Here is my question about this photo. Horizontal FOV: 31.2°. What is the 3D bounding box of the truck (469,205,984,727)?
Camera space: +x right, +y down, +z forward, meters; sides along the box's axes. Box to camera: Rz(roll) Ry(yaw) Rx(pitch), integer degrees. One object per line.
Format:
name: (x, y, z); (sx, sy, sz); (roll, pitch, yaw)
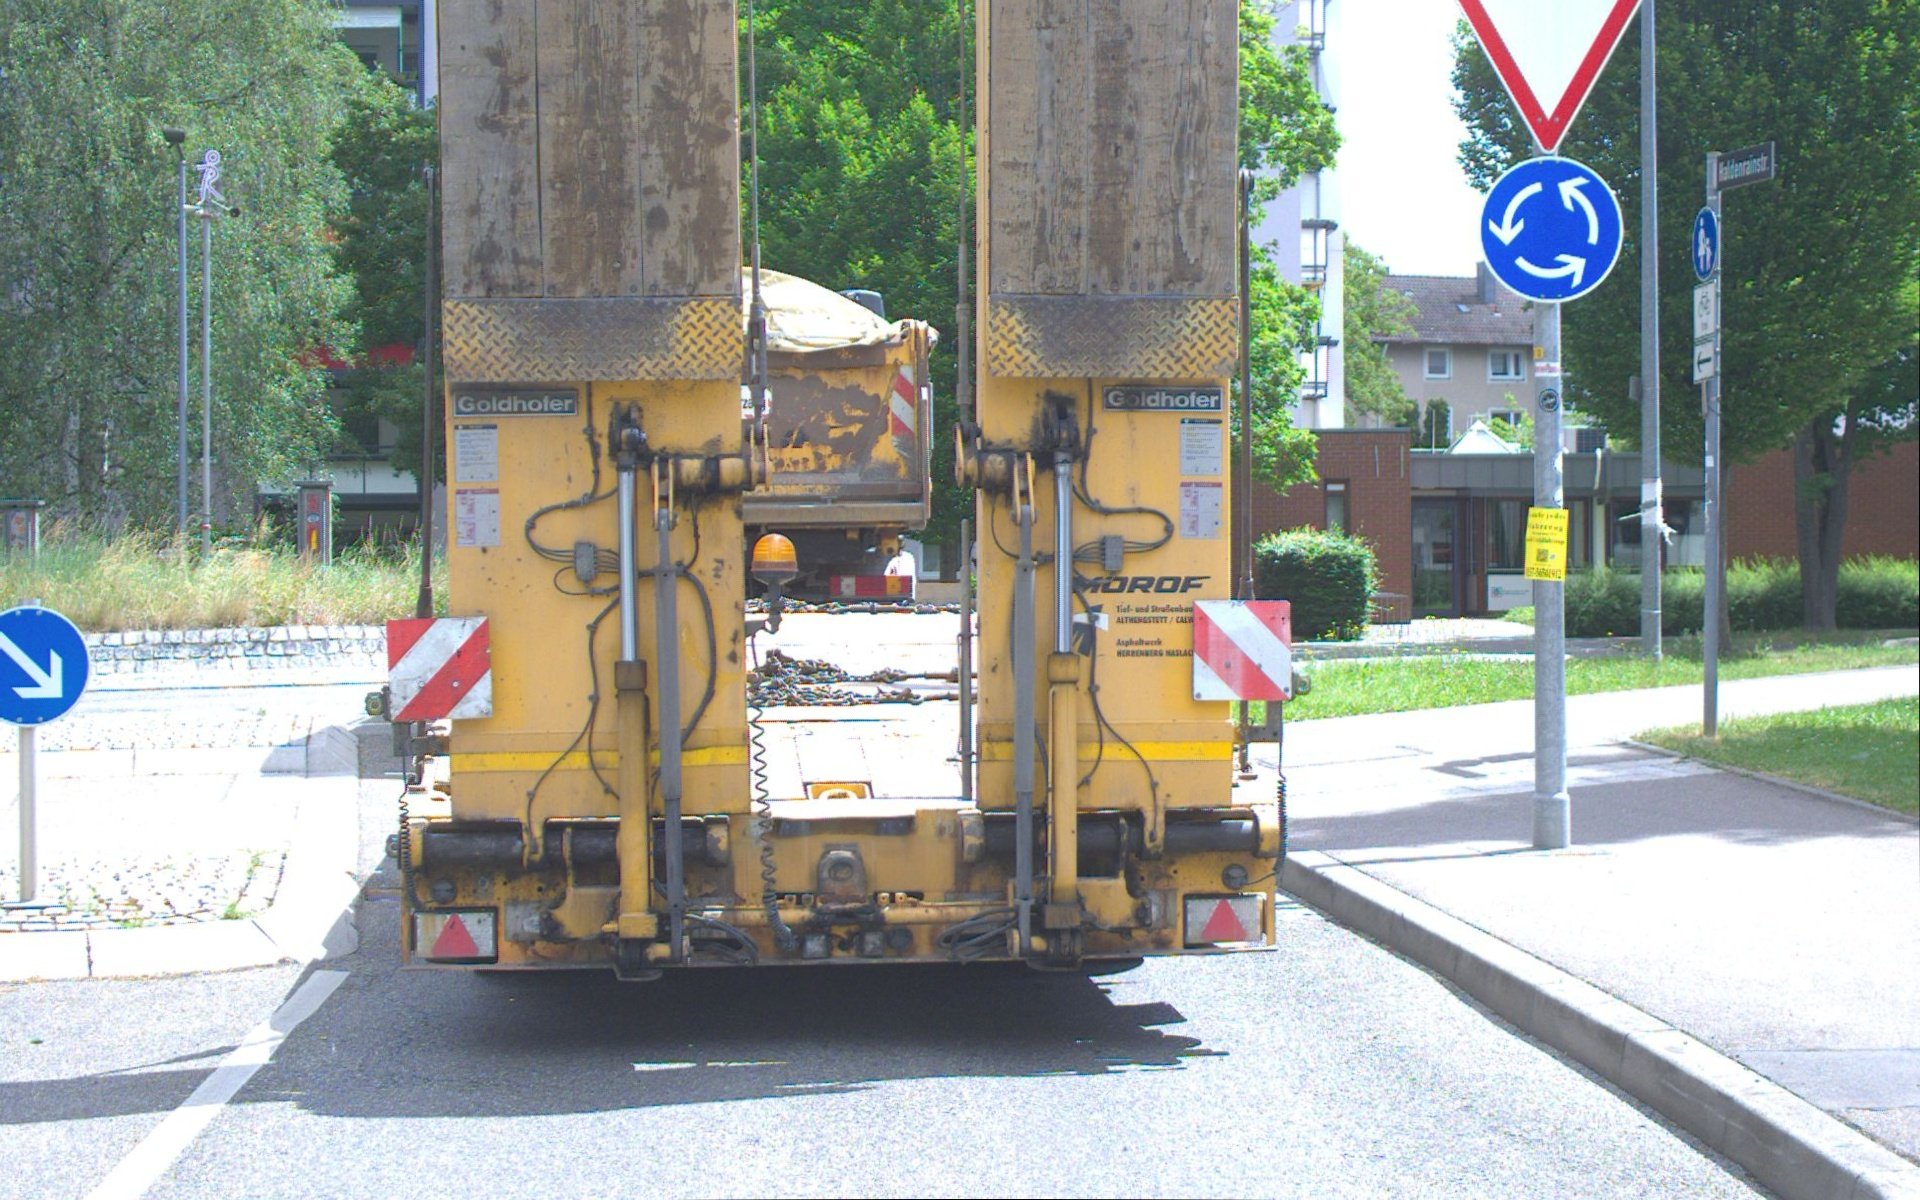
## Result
truck: (-1.764, -0.934, 24.506); (2.987, 3.024, 8.488); (1, 2, -5)

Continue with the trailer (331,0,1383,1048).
trailer: (-0.784, -0.576, 14.919); (2.863, 3.361, 10.843); (1, 1, -6)

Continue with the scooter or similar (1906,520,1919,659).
scooter or similar: (9.777, -0.128, 33.725); (0.485, 1.338, 1.386); (-1, 1, 35)
